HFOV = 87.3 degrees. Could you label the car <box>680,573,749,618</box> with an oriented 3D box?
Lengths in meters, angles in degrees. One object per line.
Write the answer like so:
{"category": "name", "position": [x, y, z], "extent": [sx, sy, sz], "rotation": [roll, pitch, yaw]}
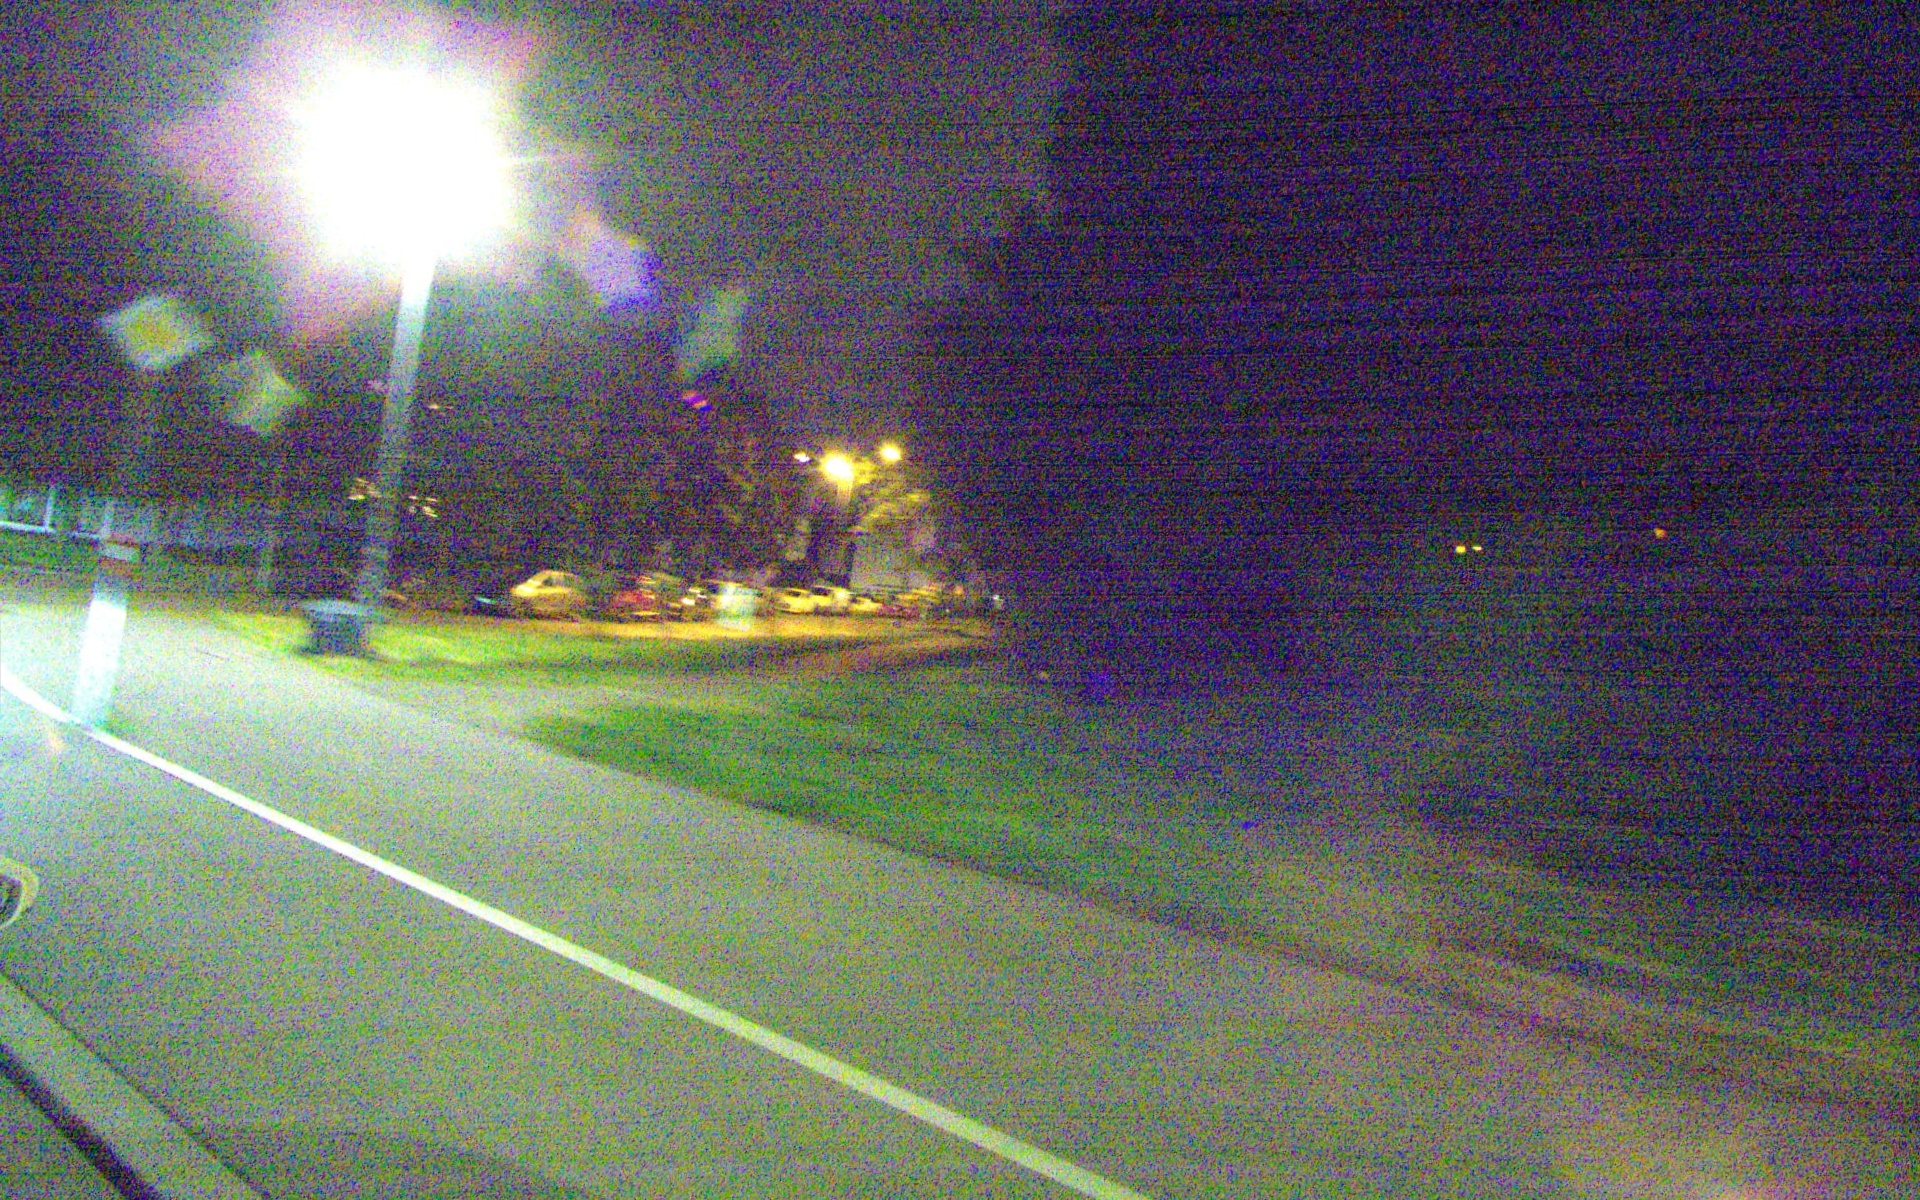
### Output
{"category": "car", "position": [-10.947, -0.167, 45.225], "extent": [1.730, 1.690, 4.330], "rotation": [8, -1, 2]}

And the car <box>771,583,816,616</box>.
{"category": "car", "position": [-10.045, -0.017, 60.979], "extent": [1.636, 1.690, 3.431], "rotation": [8, -1, 6]}

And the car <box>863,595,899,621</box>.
{"category": "car", "position": [-5.996, 0.645, 76.823], "extent": [1.434, 1.690, 3.474], "rotation": [8, -1, 16]}

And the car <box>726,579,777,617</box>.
{"category": "car", "position": [-10.792, -0.058, 52.295], "extent": [1.637, 1.690, 3.543], "rotation": [8, -1, 2]}

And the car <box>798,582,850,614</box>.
{"category": "car", "position": [-9.012, -0.090, 66.893], "extent": [1.805, 1.690, 4.416], "rotation": [8, -1, 13]}

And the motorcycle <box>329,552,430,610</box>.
{"category": "motorcycle", "position": [-14.659, -0.462, 25.489], "extent": [0.698, 1.229, 2.267], "rotation": [8, -1, 16]}

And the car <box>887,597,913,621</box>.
{"category": "car", "position": [-4.851, 0.733, 81.466], "extent": [1.374, 1.691, 2.927], "rotation": [8, -1, 8]}

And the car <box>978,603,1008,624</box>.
{"category": "car", "position": [3.360, 1.380, 102.570], "extent": [1.513, 1.691, 2.871], "rotation": [8, -1, 35]}

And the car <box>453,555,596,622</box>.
{"category": "car", "position": [-12.703, -0.293, 29.604], "extent": [1.829, 1.497, 3.634], "rotation": [8, -1, 16]}

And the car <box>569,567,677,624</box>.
{"category": "car", "position": [-11.429, -0.097, 34.427], "extent": [1.582, 1.566, 4.035], "rotation": [8, -1, 11]}

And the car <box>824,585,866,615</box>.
{"category": "car", "position": [-8.114, 0.035, 71.187], "extent": [1.546, 1.690, 4.100], "rotation": [8, -1, 13]}

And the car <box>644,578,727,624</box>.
{"category": "car", "position": [-10.954, 0.089, 40.467], "extent": [1.730, 1.492, 4.712], "rotation": [8, -1, 2]}
